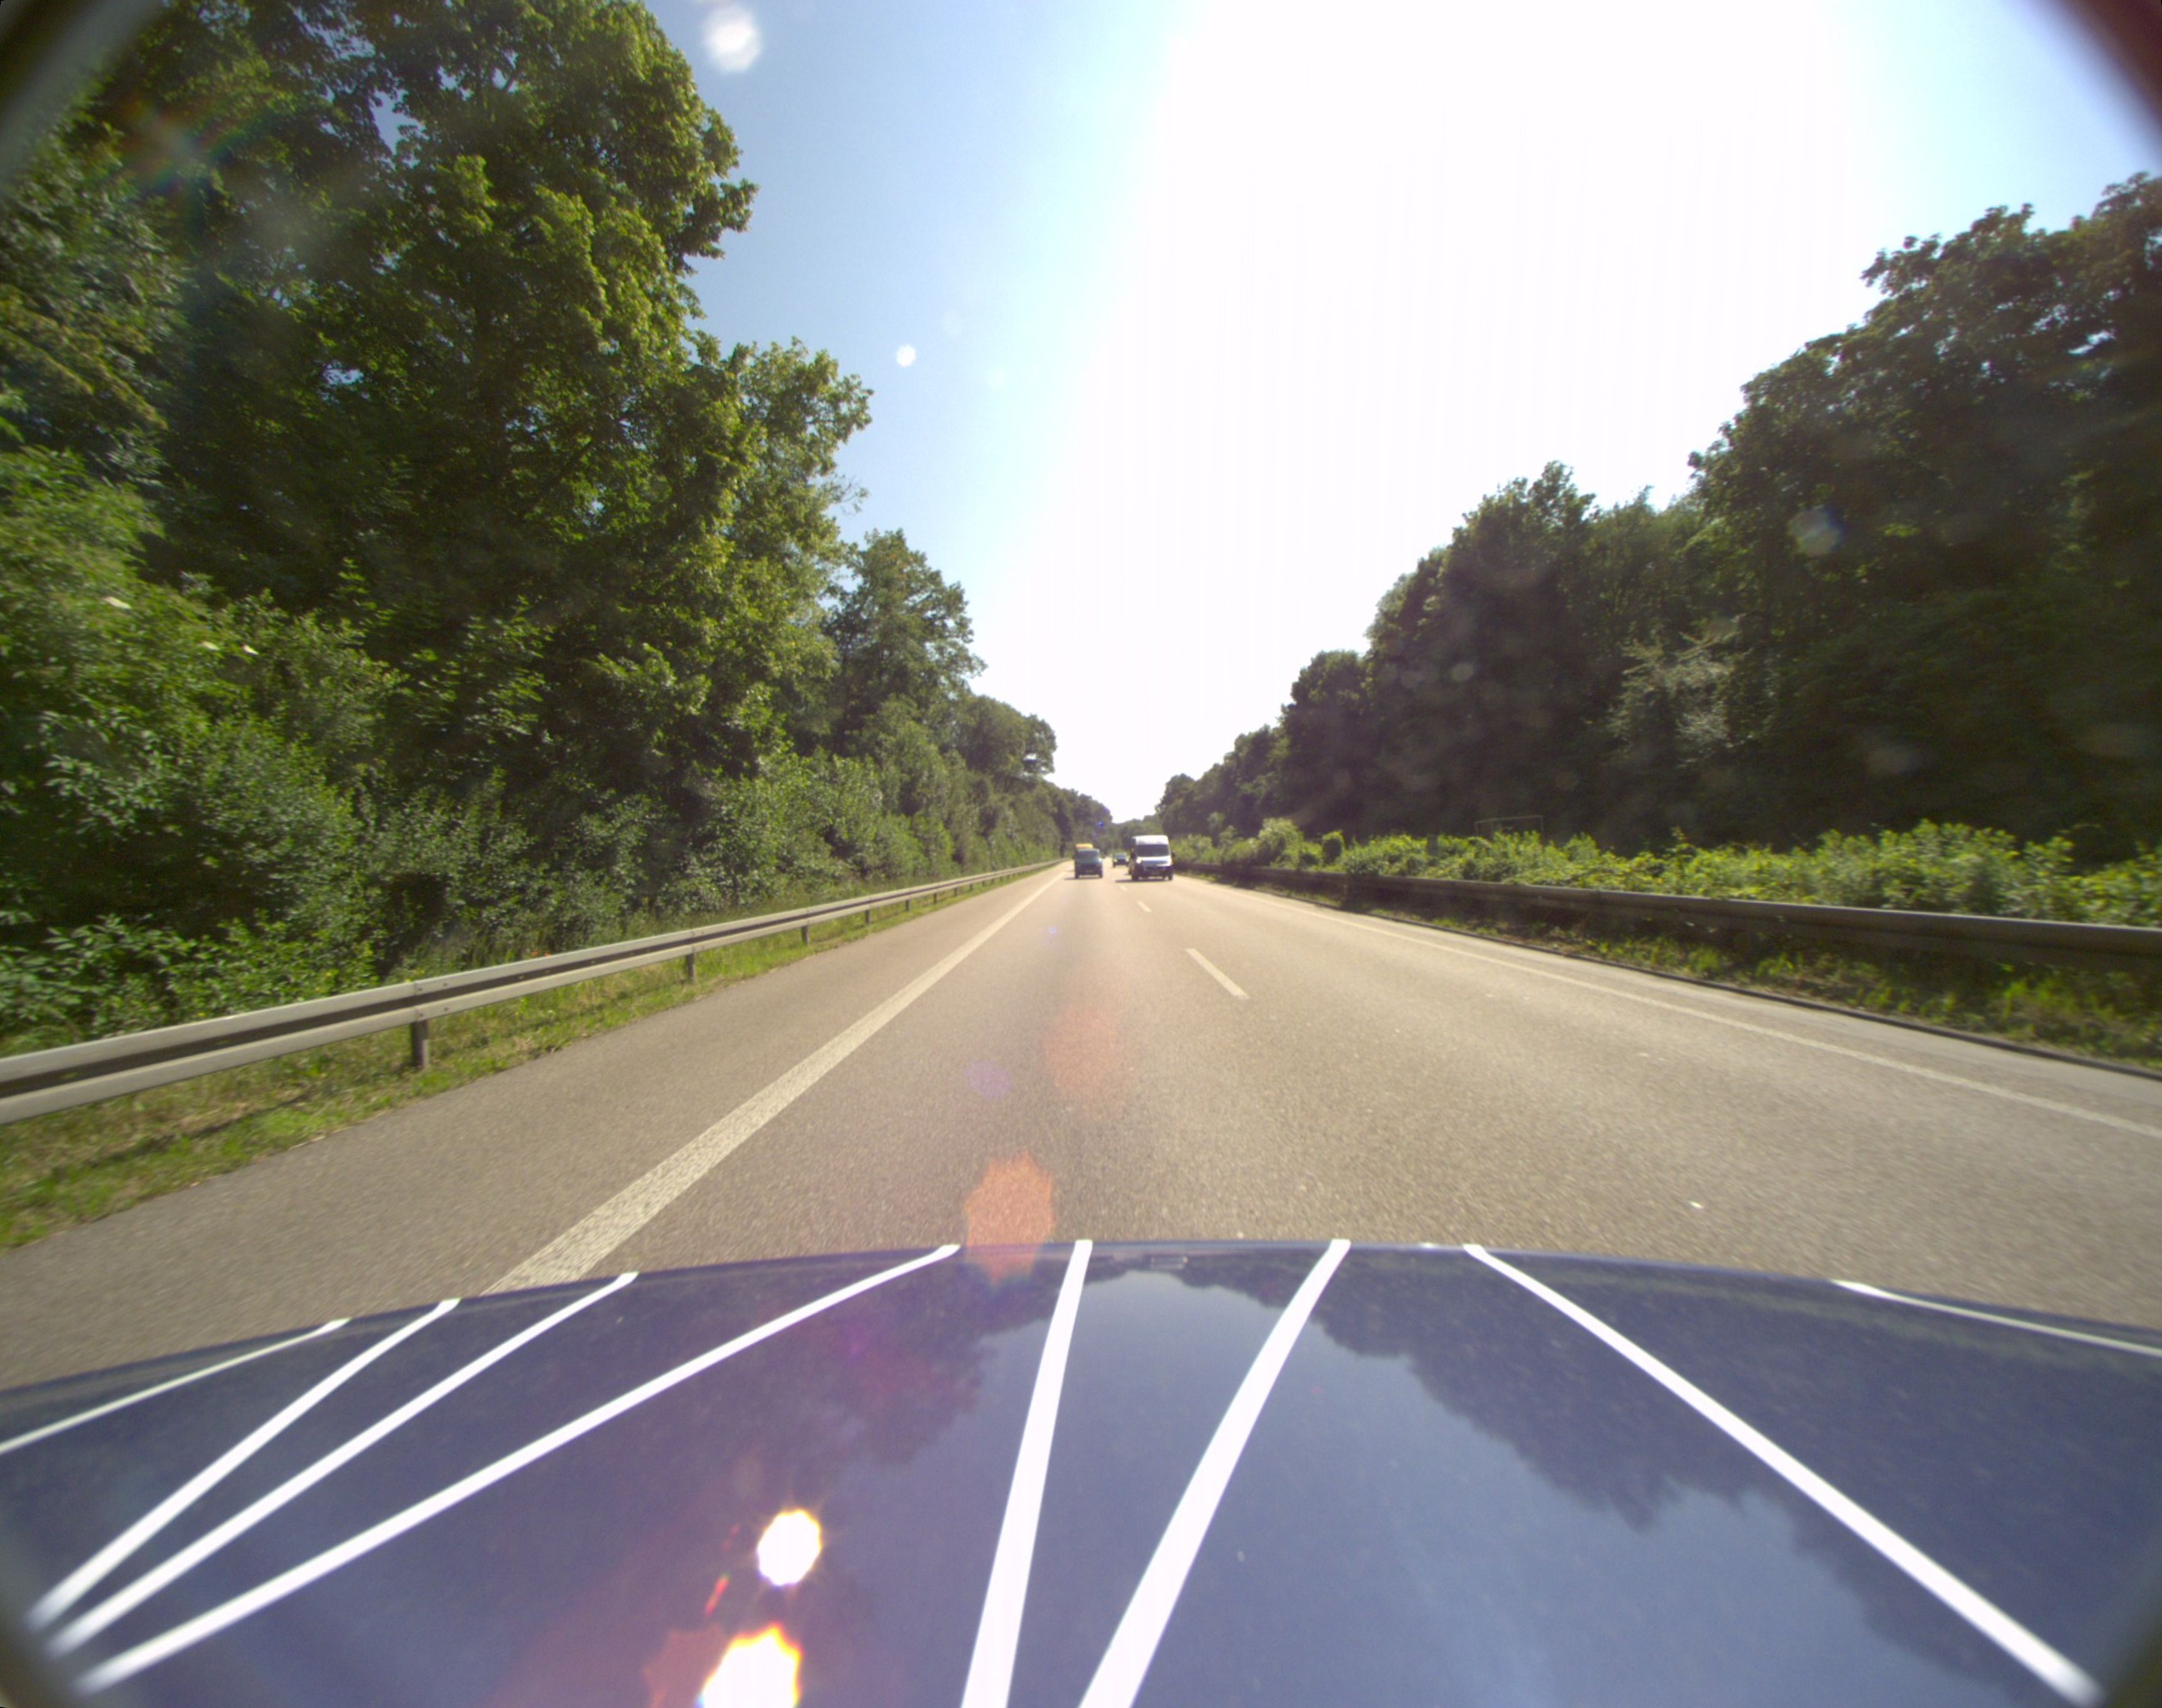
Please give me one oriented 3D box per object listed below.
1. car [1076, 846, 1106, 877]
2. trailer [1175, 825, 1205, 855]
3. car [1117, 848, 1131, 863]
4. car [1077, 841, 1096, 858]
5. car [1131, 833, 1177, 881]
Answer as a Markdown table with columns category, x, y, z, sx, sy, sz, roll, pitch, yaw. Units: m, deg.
| category | x | y | z | sx | sy | sz | roll | pitch | yaw |
| --- | --- | --- | --- | --- | --- | --- | --- | --- | --- |
| car | 0.656 | 0.439 | 50.542 | 1.812 | 1.921 | 4.581 | -2 | 1 | 1 |
| trailer | 16.713 | -2.084 | 117.428 | 2.836 | 4.275 | 13.662 | -2 | 1 | 1 |
| car | 4.881 | 0.107 | 86.550 | 1.517 | 1.624 | 3.611 | -2 | 1 | 1 |
| car | 0.587 | -0.473 | 77.305 | 1.737 | 1.624 | 3.899 | -2 | 1 | 1 |
| car | 3.996 | 0.136 | 42.337 | 2.046 | 2.429 | 4.637 | -2 | 1 | 1 |
